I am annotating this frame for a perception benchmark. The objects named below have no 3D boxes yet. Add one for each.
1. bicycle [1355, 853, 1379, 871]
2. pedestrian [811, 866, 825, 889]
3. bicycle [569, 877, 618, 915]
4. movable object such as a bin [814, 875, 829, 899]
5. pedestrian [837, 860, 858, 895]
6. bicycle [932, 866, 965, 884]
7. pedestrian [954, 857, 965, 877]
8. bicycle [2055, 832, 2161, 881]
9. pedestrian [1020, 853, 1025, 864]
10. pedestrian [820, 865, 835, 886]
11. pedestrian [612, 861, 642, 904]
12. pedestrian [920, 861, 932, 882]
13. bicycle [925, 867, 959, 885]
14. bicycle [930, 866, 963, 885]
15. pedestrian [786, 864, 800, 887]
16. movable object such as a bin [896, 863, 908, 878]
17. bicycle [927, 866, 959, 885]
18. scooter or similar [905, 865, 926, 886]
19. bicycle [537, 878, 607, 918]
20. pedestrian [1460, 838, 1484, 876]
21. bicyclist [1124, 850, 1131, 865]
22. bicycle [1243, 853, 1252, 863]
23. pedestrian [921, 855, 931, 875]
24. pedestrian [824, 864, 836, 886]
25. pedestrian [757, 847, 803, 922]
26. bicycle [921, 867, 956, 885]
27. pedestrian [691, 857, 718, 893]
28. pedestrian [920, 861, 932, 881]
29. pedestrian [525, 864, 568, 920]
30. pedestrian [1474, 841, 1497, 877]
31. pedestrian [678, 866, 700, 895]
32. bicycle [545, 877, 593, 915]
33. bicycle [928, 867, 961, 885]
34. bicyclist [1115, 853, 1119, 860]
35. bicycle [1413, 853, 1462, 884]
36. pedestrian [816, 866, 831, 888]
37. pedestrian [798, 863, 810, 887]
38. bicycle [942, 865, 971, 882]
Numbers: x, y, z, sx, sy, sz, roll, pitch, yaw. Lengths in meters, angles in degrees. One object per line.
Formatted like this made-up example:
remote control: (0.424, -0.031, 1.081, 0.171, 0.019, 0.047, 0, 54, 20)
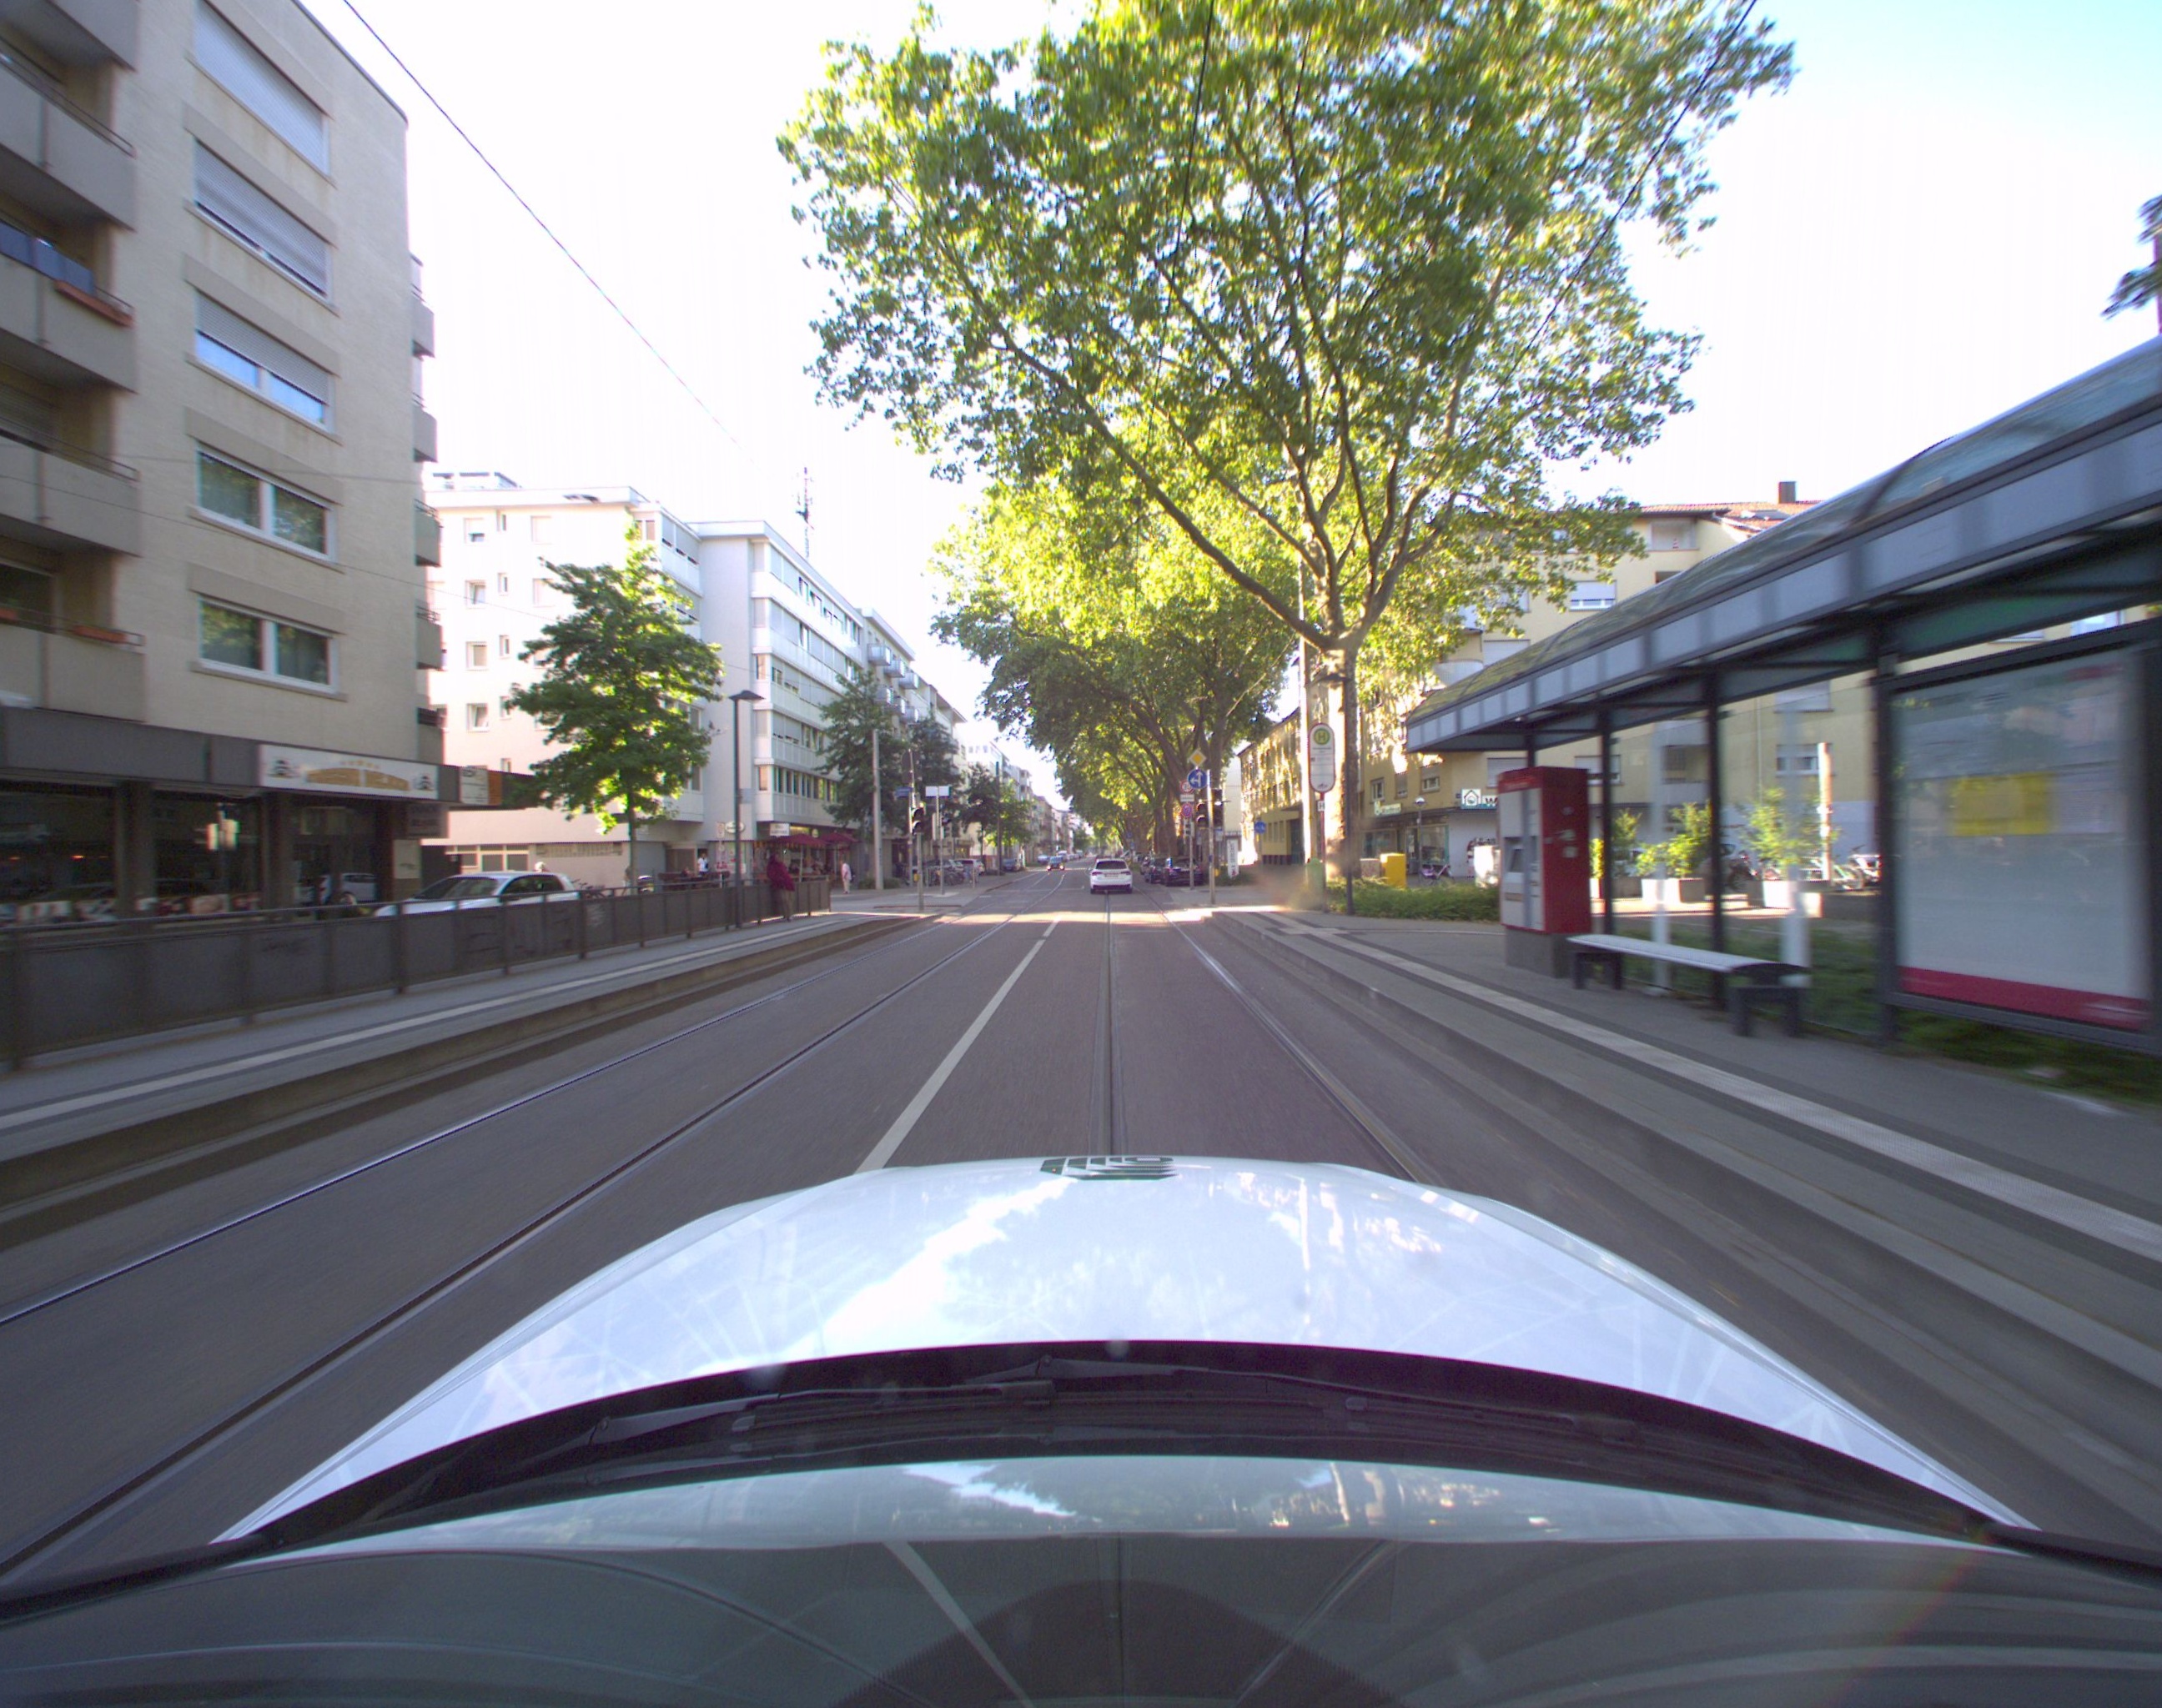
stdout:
bicycle: (16.206, 0.460, 46.167, 0.569, 0.997, 1.778, -3, 0, -3)
pedestrian: (-14.181, 1.276, 43.918, 0.509, 1.198, 0.564, -2, 0, 3)
bicycle: (-15.549, 1.326, 25.981, 1.766, 1.156, 0.576, -2, 0, 32)
movable object such as a bin: (-10.650, 1.355, 33.416, 0.539, 0.932, 0.647, -2, 0, -15)
pedestrian: (-10.501, 1.040, 36.664, 0.723, 1.556, 0.768, -2, 0, -4)
bicycle: (-7.810, 1.231, 47.987, 1.825, 1.007, 0.657, 0, -1, -4)
pedestrian: (-10.569, 1.116, 70.914, 0.761, 1.691, 0.794, -1, 0, 0)
bicycle: (25.585, 0.070, 20.231, 0.562, 1.156, 1.692, -3, 0, -9)
pedestrian: (-10.053, 0.725, 140.341, 0.661, 1.826, 0.965, -1, 0, 0)
pedestrian: (-15.208, 1.292, 48.833, 0.670, 1.198, 0.655, -2, 0, 0)
pedestrian: (-18.436, 1.153, 33.099, 0.756, 1.671, 0.768, -2, 0, -4)
pedestrian: (-10.166, 1.145, 53.407, 0.713, 1.297, 0.744, -2, 0, -13)
bicycle: (-7.891, 1.223, 46.209, 1.825, 1.007, 0.657, 0, -1, -4)
bicycle: (-7.767, 1.229, 47.173, 1.825, 1.064, 0.657, 0, -1, -4)
pedestrian: (-15.062, 1.110, 42.596, 0.566, 1.198, 0.508, -2, 0, -34)
movable object such as a bin: (-13.443, 1.233, 61.241, 0.675, 1.055, 0.622, -2, 0, 3)
bicycle: (-7.494, 1.169, 44.277, 1.687, 1.007, 0.657, 0, -1, -4)
scooter or similar: (-9.383, 1.194, 46.222, 1.076, 1.176, 0.498, 0, -1, 0)
bicycle: (-15.685, 1.339, 25.113, 1.849, 1.156, 0.573, -2, 0, 5)
pedestrian: (17.649, 0.155, 36.778, 0.704, 1.682, 0.656, -2, 0, -26)
bicyclist: (4.848, 0.348, 84.194, 0.676, 1.443, 1.048, -2, 0, 2)
bicycle: (18.467, 0.463, 90.290, 0.580, 1.104, 1.923, -3, 0, 1)
pedestrian: (-13.036, 0.897, 68.606, 0.661, 1.691, 0.748, -1, 0, 0)
pedestrian: (-14.230, 1.172, 46.168, 0.514, 1.198, 0.559, -2, 0, -28)
pedestrian: (-6.519, 0.643, 17.674, 0.651, 1.585, 0.773, -2, 0, 2)
bicycle: (-7.996, 1.220, 45.770, 1.825, 1.007, 0.657, 0, -1, -4)
pedestrian: (-17.479, 0.969, 37.814, 0.741, 1.659, 0.772, -2, 0, 16)
pedestrian: (-10.398, 1.158, 54.652, 0.713, 1.297, 0.908, -2, 0, -12)
pedestrian: (-15.321, 1.069, 23.344, 0.723, 1.556, 0.725, -2, 0, -3)
pedestrian: (17.705, 0.232, 35.671, 0.694, 1.539, 0.695, -2, 0, 42)
pedestrian: (-17.707, 1.189, 36.786, 0.752, 1.241, 0.761, -2, 0, -32)
bicycle: (-16.347, 1.341, 26.006, 1.766, 1.156, 0.576, -2, 0, 32)
bicycle: (-7.839, 1.258, 46.854, 1.825, 1.007, 0.657, 0, -1, -4)
bicyclist: (6.293, 0.426, 142.200, 0.647, 1.344, 0.934, -2, 0, 0)
bicycle: (14.714, 0.590, 33.604, 1.797, 1.156, 0.741, -3, 0, -21)
pedestrian: (-14.339, 1.283, 45.303, 0.604, 1.198, 0.685, -2, 0, -33)
pedestrian: (-14.370, 1.092, 42.234, 0.512, 1.198, 0.561, -2, 0, -15)
bicycle: (-7.548, 1.204, 49.336, 1.687, 1.007, 0.657, 0, -1, -4)
